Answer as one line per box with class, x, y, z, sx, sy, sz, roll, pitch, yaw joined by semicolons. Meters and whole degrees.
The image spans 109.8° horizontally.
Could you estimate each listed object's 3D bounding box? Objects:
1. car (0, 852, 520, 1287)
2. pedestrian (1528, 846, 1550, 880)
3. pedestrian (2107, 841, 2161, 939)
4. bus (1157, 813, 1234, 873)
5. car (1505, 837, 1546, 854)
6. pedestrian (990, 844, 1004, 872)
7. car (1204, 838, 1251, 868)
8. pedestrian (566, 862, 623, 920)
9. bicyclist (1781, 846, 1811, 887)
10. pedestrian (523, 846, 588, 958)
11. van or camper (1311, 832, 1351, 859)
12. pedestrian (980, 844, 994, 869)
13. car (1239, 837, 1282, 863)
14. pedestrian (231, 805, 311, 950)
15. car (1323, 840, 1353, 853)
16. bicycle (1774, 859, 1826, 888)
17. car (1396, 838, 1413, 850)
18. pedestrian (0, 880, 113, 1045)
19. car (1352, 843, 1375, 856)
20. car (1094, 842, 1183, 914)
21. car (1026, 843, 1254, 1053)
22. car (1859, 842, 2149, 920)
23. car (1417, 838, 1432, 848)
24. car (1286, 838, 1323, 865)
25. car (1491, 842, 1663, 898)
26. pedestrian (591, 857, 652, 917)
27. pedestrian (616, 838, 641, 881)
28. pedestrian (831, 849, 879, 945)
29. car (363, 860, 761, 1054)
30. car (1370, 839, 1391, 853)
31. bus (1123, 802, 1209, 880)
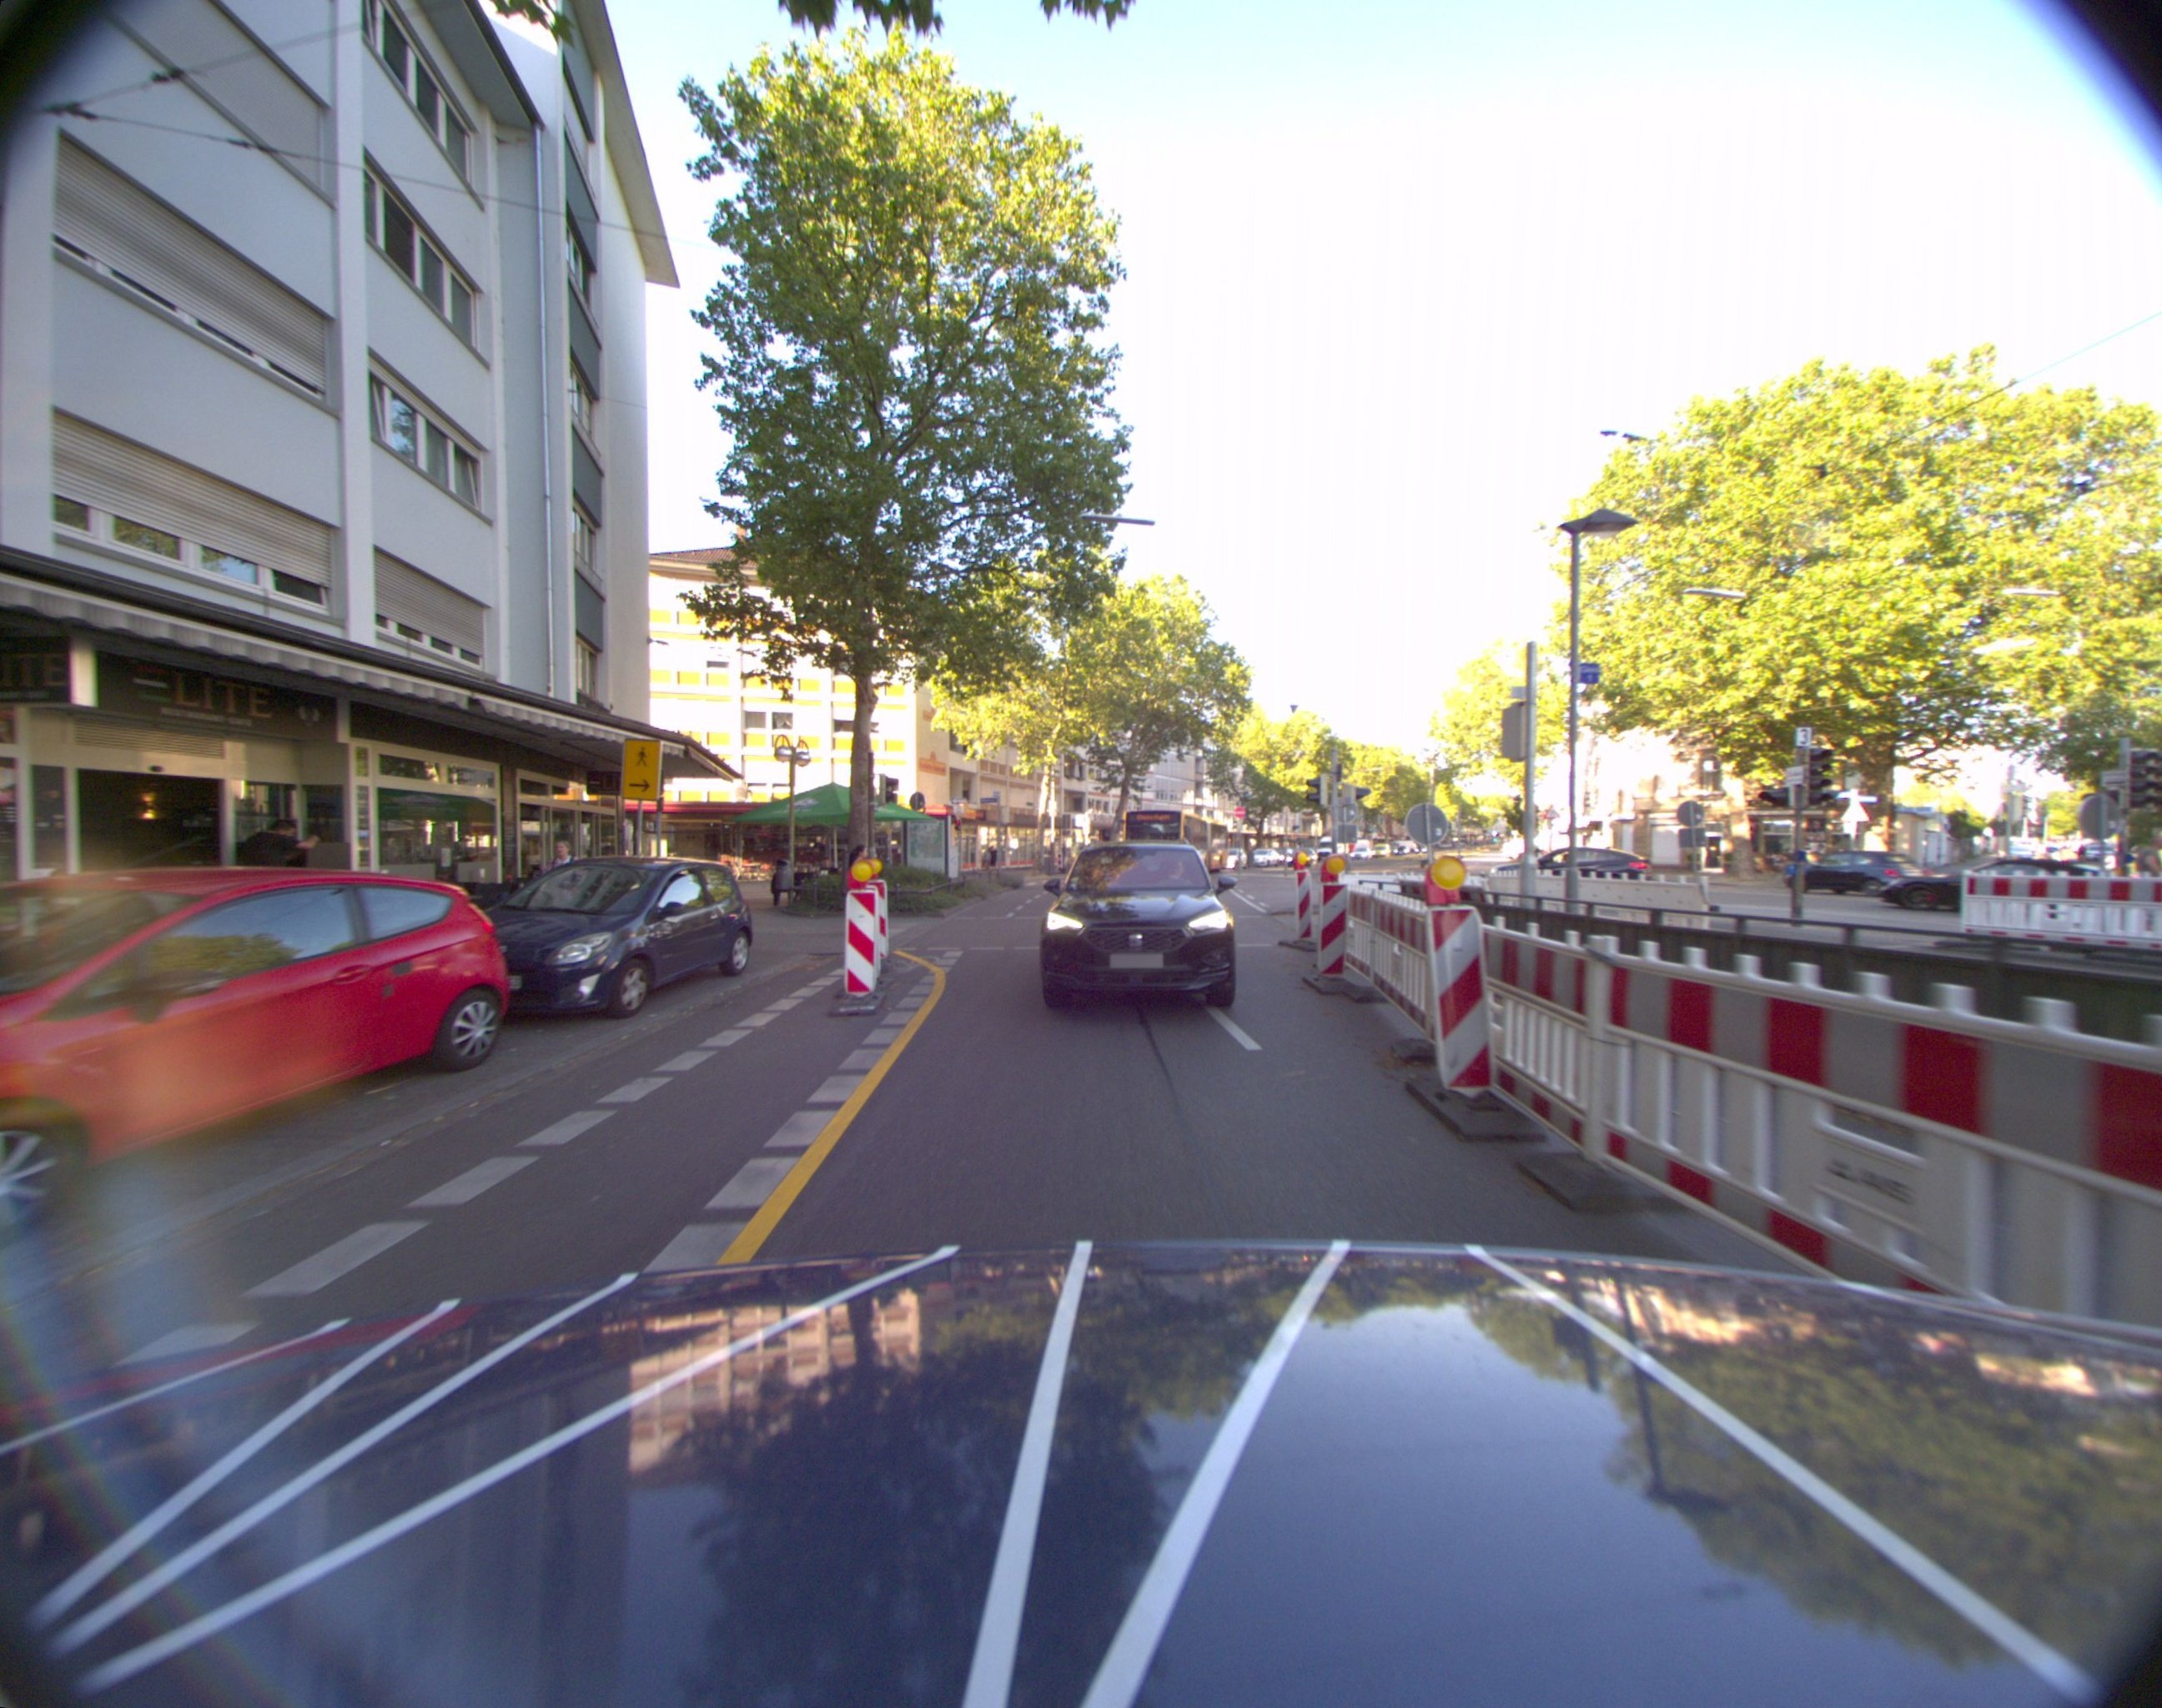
car;-5.122;0.850;3.844;1.786;1.586;3.822;3;1;-2
pedestrian;20.897;0.405;34.678;0.603;1.525;0.745;0;1;13
pedestrian;19.247;0.628;13.730;0.553;1.737;0.692;1;1;26
bus;6.701;-0.644;43.338;2.717;3.088;8.608;0;1;20
car;54.033;-0.998;92.410;4.001;2.002;1.997;0;1;-12
pedestrian;-4.805;0.234;43.656;0.627;1.577;0.532;0;1;21
car;10.113;-0.101;52.264;1.994;2.002;4.105;1;1;29
pedestrian;-10.416;0.777;16.277;0.647;1.186;0.792;0;1;8
bicyclist;28.473;0.476;30.266;0.551;1.605;0.643;0;1;1
pedestrian;-7.839;0.695;11.350;0.629;1.628;0.531;0;1;-14
van or camper;26.040;-0.909;78.989;2.419;2.702;6.144;1;1;33
pedestrian;-5.412;0.152;43.890;0.627;1.429;0.532;0;1;21
car;14.417;-0.330;60.885;1.994;2.002;4.008;1;1;34
pedestrian;-10.222;0.282;9.606;0.396;1.769;0.556;2;2;-1
car;38.297;-1.150;113.357;3.994;2.002;2.001;0;1;8
bicycle;28.484;0.760;30.120;0.550;1.059;1.621;0;1;1
car;49.013;-1.484;115.100;1.836;1.792;4.138;1;1;32
pedestrian;-9.445;0.910;6.502;1.070;1.328;0.953;0;1;0
car;32.896;-0.561;88.421;1.700;1.462;3.771;1;1;32
car;1.360;0.518;19.288;1.998;1.634;4.075;0;1;2
car;0.531;0.728;8.143;1.841;1.696;4.000;0;1;2
car;21.876;0.530;18.245;2.002;1.652;3.992;0;1;-22
car;60.533;-1.889;133.789;1.836;1.792;4.138;1;1;32
car;17.368;-0.200;58.972;1.994;2.002;4.007;1;1;28
car;16.156;0.445;24.877;4.545;1.652;2.004;1;1;37
pedestrian;-9.591;0.668;15.869;0.877;1.186;0.701;1;1;24
pedestrian;-20.739;0.240;34.852;0.887;1.948;0.650;1;2;35
pedestrian;-4.017;0.744;13.557;0.583;1.637;0.796;0;3;0
car;-5.062;0.871;8.108;1.771;1.459;3.610;3;1;-1
car;38.984;-1.011;98.933;1.836;1.792;4.138;1;1;32
bus;4.053;-0.573;34.364;2.718;3.088;8.630;0;1;14
